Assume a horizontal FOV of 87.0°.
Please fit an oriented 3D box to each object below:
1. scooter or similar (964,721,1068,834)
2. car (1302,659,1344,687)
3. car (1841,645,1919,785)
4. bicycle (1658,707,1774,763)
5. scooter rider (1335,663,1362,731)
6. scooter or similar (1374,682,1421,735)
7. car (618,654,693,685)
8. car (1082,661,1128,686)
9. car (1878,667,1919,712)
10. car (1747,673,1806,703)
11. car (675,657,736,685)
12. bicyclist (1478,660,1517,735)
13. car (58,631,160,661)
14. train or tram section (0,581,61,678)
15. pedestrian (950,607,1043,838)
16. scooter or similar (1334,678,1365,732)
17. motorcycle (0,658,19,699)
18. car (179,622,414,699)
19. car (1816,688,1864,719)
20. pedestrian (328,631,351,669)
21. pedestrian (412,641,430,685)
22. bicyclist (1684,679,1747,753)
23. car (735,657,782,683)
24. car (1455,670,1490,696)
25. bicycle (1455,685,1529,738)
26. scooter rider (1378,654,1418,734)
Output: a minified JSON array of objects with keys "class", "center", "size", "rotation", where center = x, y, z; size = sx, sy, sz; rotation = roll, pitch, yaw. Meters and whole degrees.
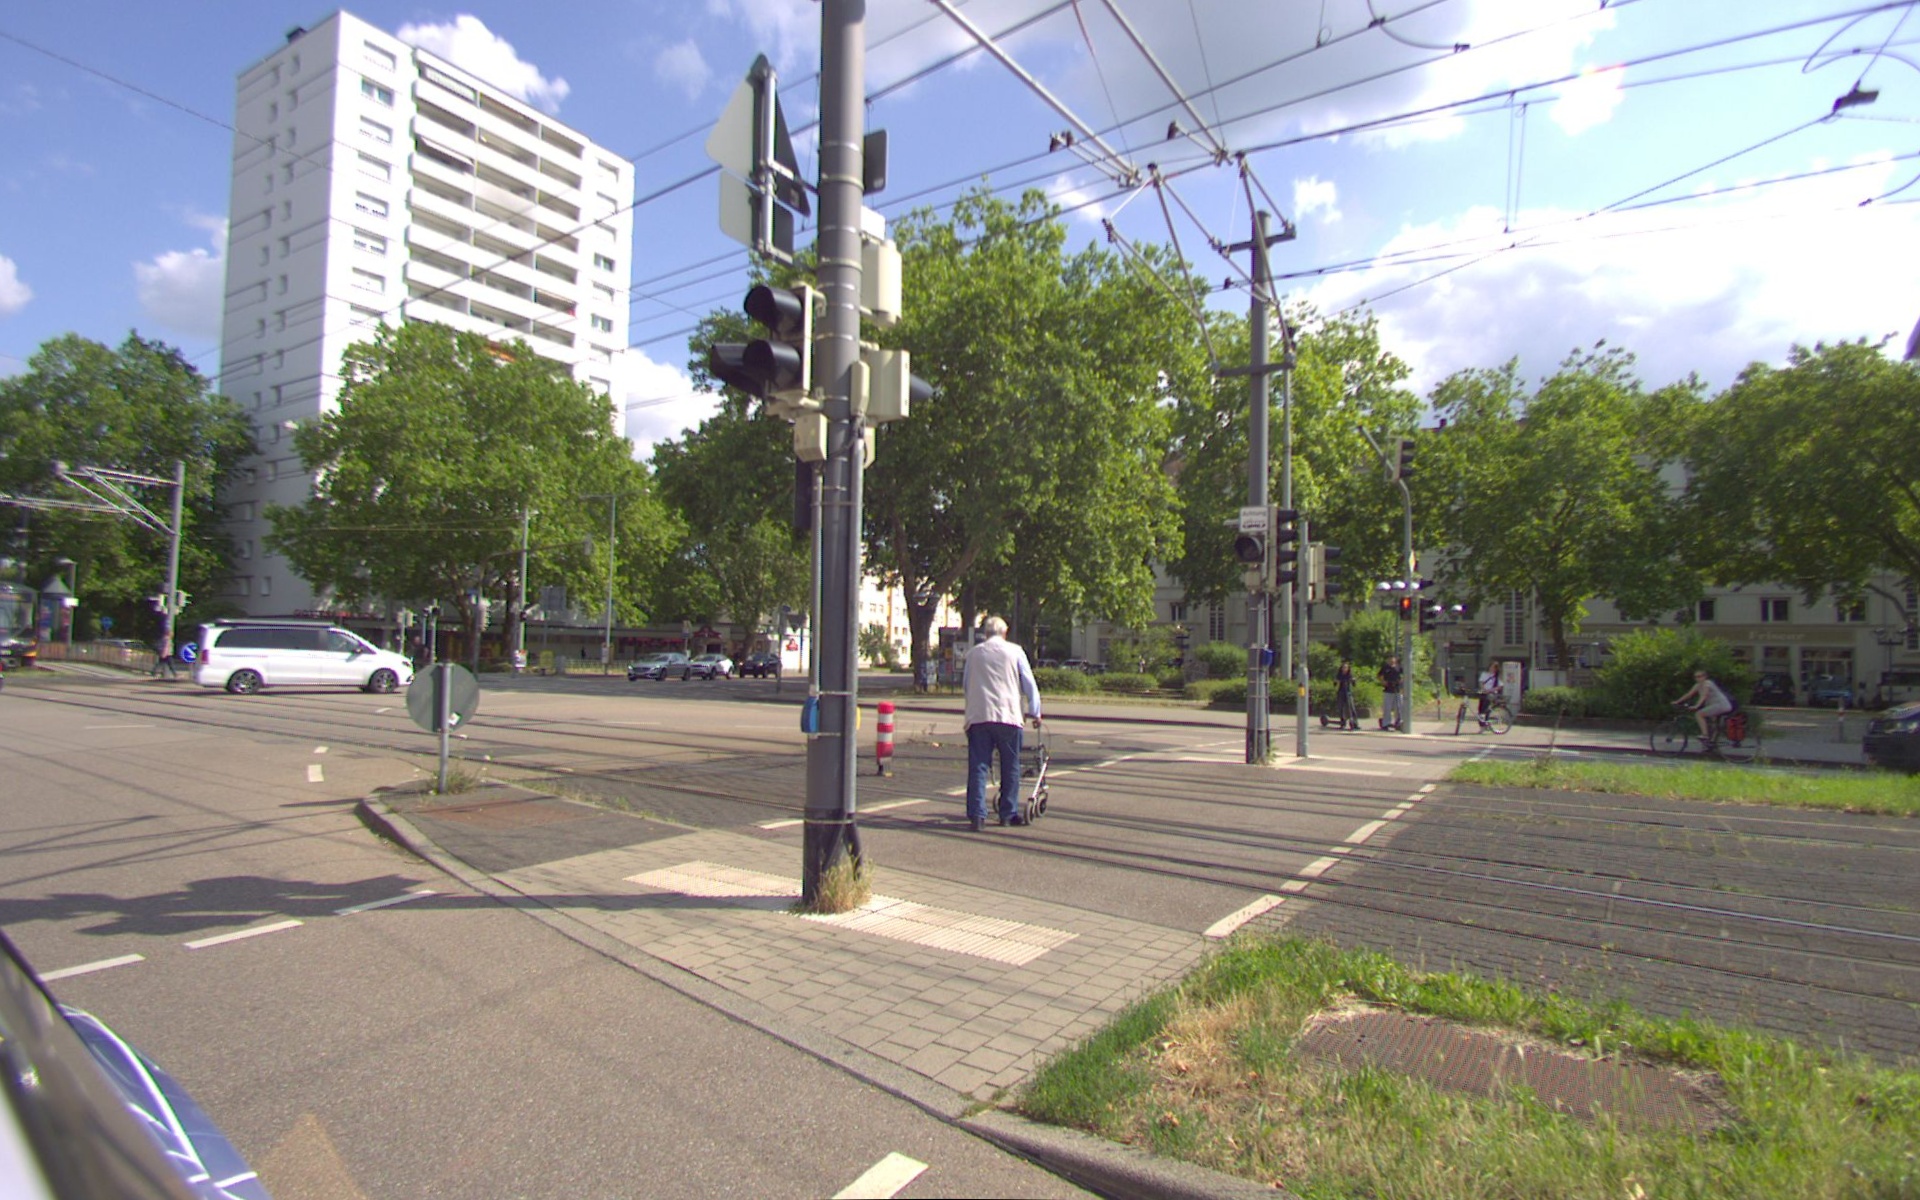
[{"class":"scooter or similar","center":[0.477,1.443,8.379],"size":[0.551,0.810,0.832],"rotation":[-1,-4,28]},{"class":"car","center":[23.119,4.624,64.372],"size":[1.990,1.697,3.962],"rotation":[-1,-4,27]},{"class":"car","center":[16.199,1.633,14.272],"size":[5.318,2.002,2.058],"rotation":[-3,-5,33]},{"class":"bicycle","center":[14.382,2.556,19.284],"size":[1.716,0.928,0.464],"rotation":[-2,-4,41]},{"class":"scooter rider","center":[9.453,2.346,24.616],"size":[0.539,1.605,0.436],"rotation":[0,-2,11]},{"class":"scooter or similar","center":[10.326,2.545,23.901],"size":[0.535,1.180,0.879],"rotation":[2,-2,-32]},{"class":"car","center":[-15.515,3.534,51.783],"size":[1.844,1.501,3.979],"rotation":[0,-4,15]},{"class":"car","center":[10.468,5.257,72.825],"size":[1.845,1.672,4.040],"rotation":[-1,-4,31]},{"class":"car","center":[45.900,4.349,48.723],"size":[2.253,2.029,3.881],"rotation":[-2,-7,40]},{"class":"car","center":[48.363,5.188,60.049],"size":[2.074,1.672,4.042],"rotation":[-1,-4,30]},{"class":"car","center":[-14.569,4.062,58.127],"size":[1.841,1.501,4.061],"rotation":[0,-4,11]},{"class":"bicyclist","center":[12.372,2.236,23.306],"size":[0.573,1.681,0.509],"rotation":[0,-2,-18]},{"class":"car","center":[-45.278,2.454,53.900],"size":[3.793,1.501,1.862],"rotation":[1,-3,-2]},{"class":"train or tram section","center":[-40.134,1.299,40.681],"size":[11.338,3.588,2.774],"rotation":[-2,-4,32]},{"class":"pedestrian","center":[0.296,0.938,8.048],"size":[0.555,1.746,0.523],"rotation":[-1,-3,28]},{"class":"scooter or similar","center":[9.462,2.536,24.592],"size":[0.539,1.235,0.874],"rotation":[0,-2,10]},{"class":"motorcycle","center":[-24.609,1.891,24.654],"size":[2.466,0.984,0.700],"rotation":[2,-3,-8]},{"class":"car","center":[-17.949,1.693,27.533],"size":[5.088,1.906,2.004],"rotation":[5,-5,-38]},{"class":"car","center":[50.716,5.978,58.366],"size":[1.931,1.680,3.686],"rotation":[-2,-7,40]},{"class":"pedestrian","center":[-26.416,2.143,43.074],"size":[0.550,1.610,0.510],"rotation":[0,-3,12]},{"class":"pedestrian","center":[-22.719,2.660,42.628],"size":[0.473,1.839,0.558],"rotation":[2,-3,-15]},{"class":"bicyclist","center":[14.400,2.189,19.295],"size":[0.909,1.354,0.464],"rotation":[-2,-5,41]},{"class":"car","center":[-13.102,4.527,65.968],"size":[1.672,1.632,3.987],"rotation":[0,-3,10]},{"class":"car","center":[35.098,5.637,69.235],"size":[1.845,1.672,4.040],"rotation":[-1,-4,31]},{"class":"bicycle","center":[12.214,2.549,23.247],"size":[1.603,1.121,0.509],"rotation":[0,-2,-18]},{"class":"scooter rider","center":[10.337,2.210,23.908],"size":[0.535,1.824,0.681],"rotation":[2,-2,-32]}]
